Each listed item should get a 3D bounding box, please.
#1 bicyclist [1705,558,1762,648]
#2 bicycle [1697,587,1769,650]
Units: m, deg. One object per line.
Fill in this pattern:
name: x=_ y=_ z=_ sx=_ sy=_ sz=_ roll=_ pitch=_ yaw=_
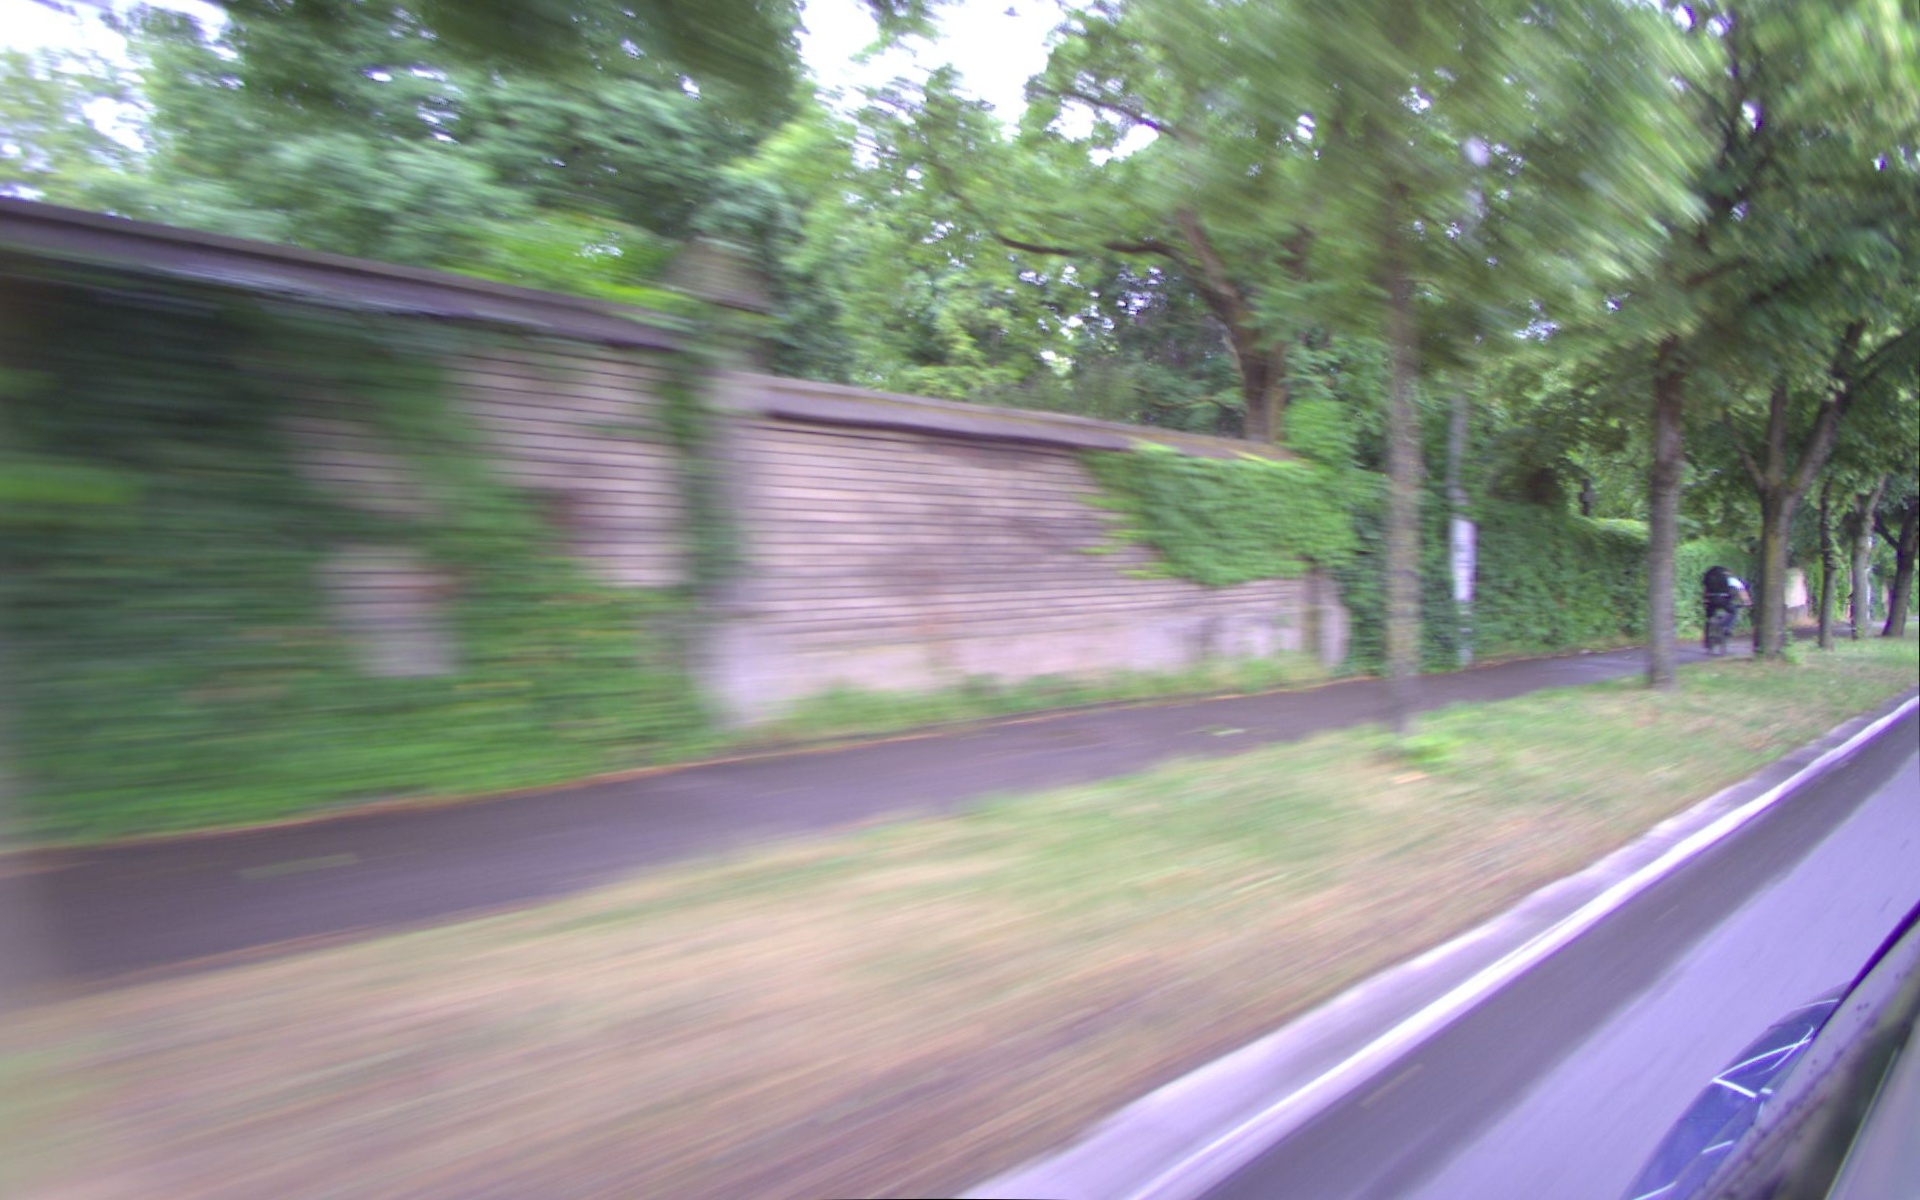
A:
bicyclist: x=15.538 y=0.048 z=20.333 sx=0.879 sy=1.748 sz=0.692 roll=0 pitch=2 yaw=-41
bicycle: x=15.548 y=0.344 z=20.346 sx=2.068 sy=1.164 sz=0.709 roll=0 pitch=3 yaw=-41
